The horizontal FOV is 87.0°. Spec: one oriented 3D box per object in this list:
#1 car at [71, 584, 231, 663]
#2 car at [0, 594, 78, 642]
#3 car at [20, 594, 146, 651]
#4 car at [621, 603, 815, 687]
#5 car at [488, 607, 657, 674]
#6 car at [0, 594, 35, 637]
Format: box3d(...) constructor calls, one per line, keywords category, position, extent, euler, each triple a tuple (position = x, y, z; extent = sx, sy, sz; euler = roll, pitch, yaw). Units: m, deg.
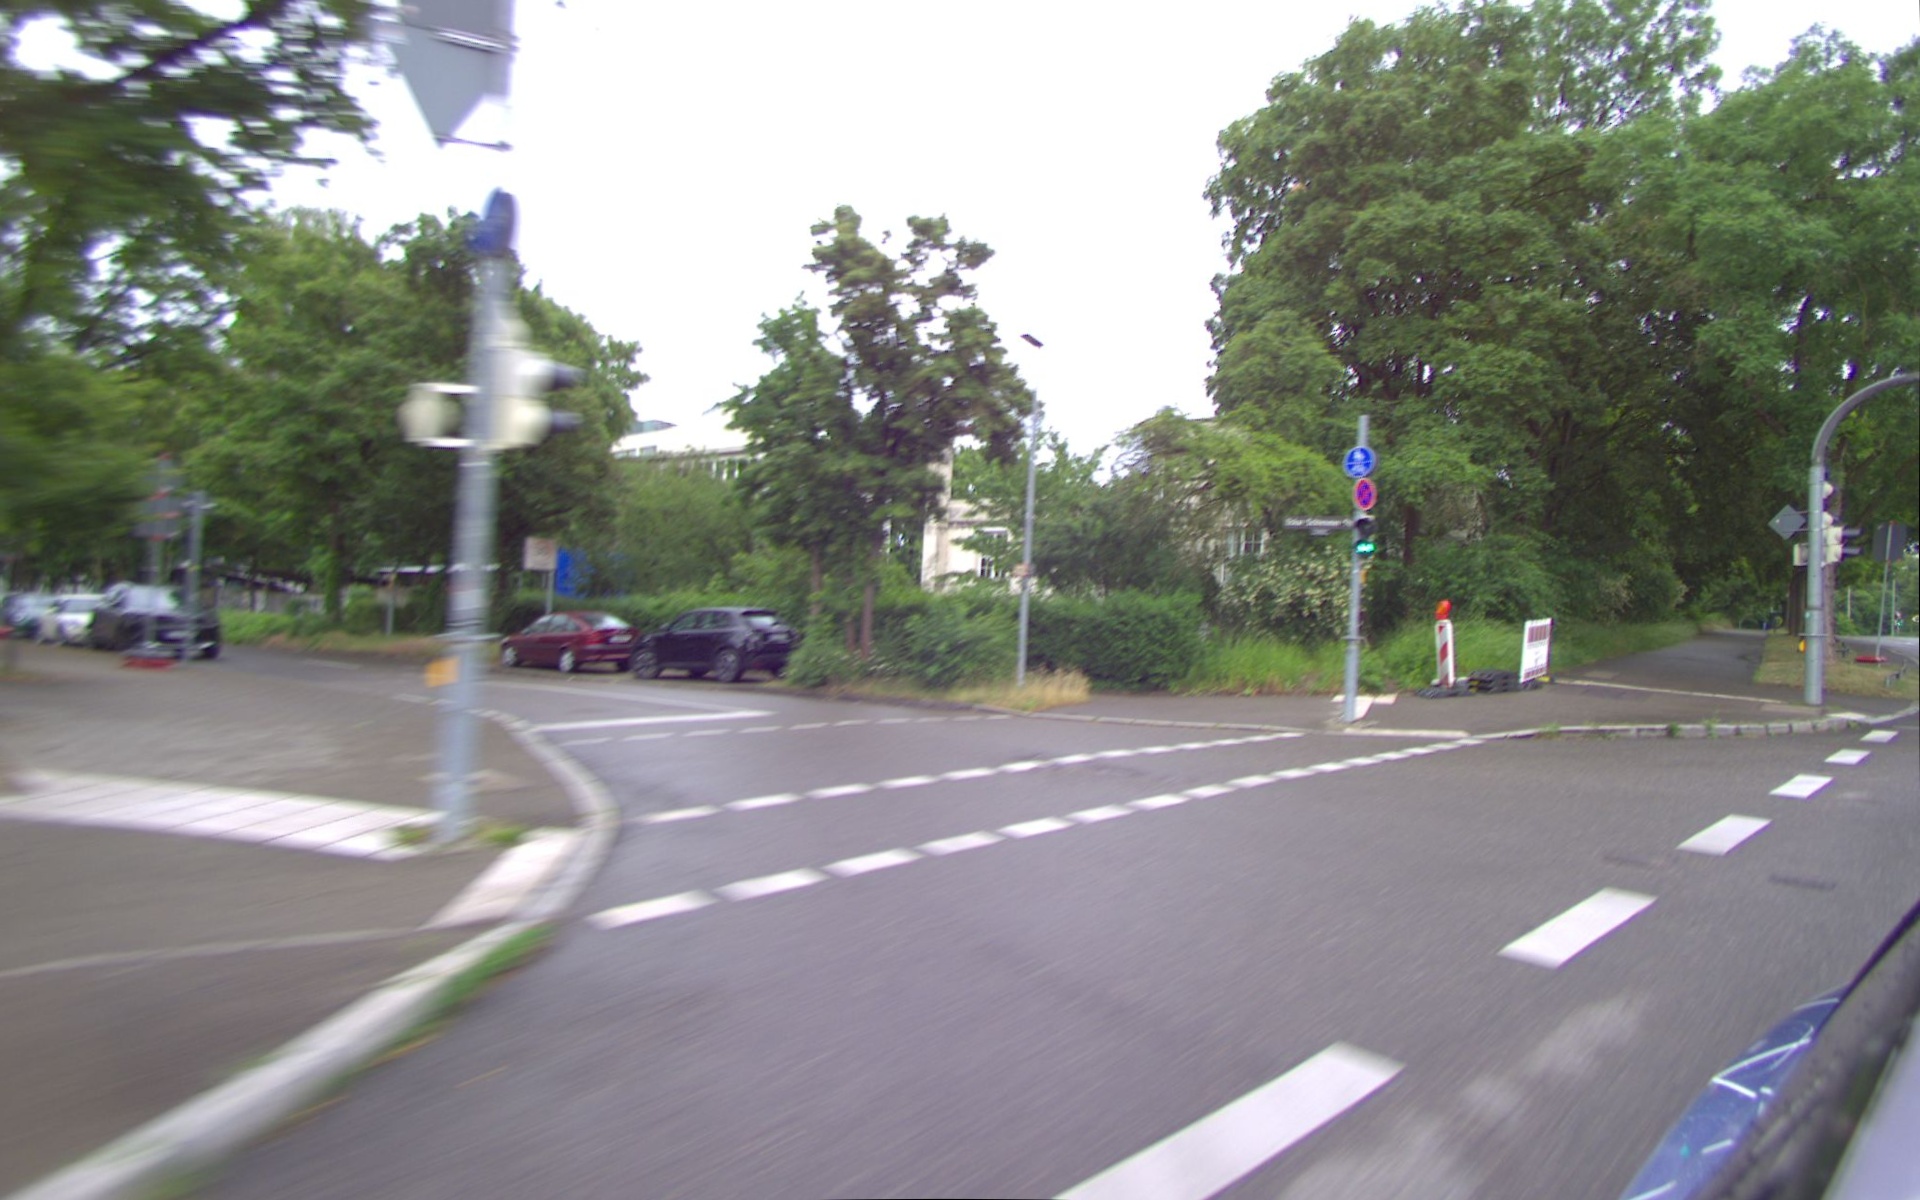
box3d(category="car", position=(-18.701, 0.496, 23.364), extent=(3.974, 1.654, 1.860), euler=(1, 0, 35))
box3d(category="car", position=(-28.842, 0.529, 31.204), extent=(3.974, 1.357, 1.610), euler=(1, 0, 36))
box3d(category="car", position=(-23.076, 0.552, 26.580), extent=(3.974, 1.357, 1.610), euler=(1, 0, 36))
box3d(category="car", position=(-5.153, 0.878, 21.455), extent=(3.876, 1.567, 1.859), euler=(1, 0, 33))
box3d(category="car", position=(-9.391, 0.912, 24.438), extent=(4.077, 1.411, 1.823), euler=(1, 0, 34))
box3d(category="car", position=(-32.474, 0.486, 33.757), extent=(3.974, 1.357, 1.610), euler=(1, 0, 36))
